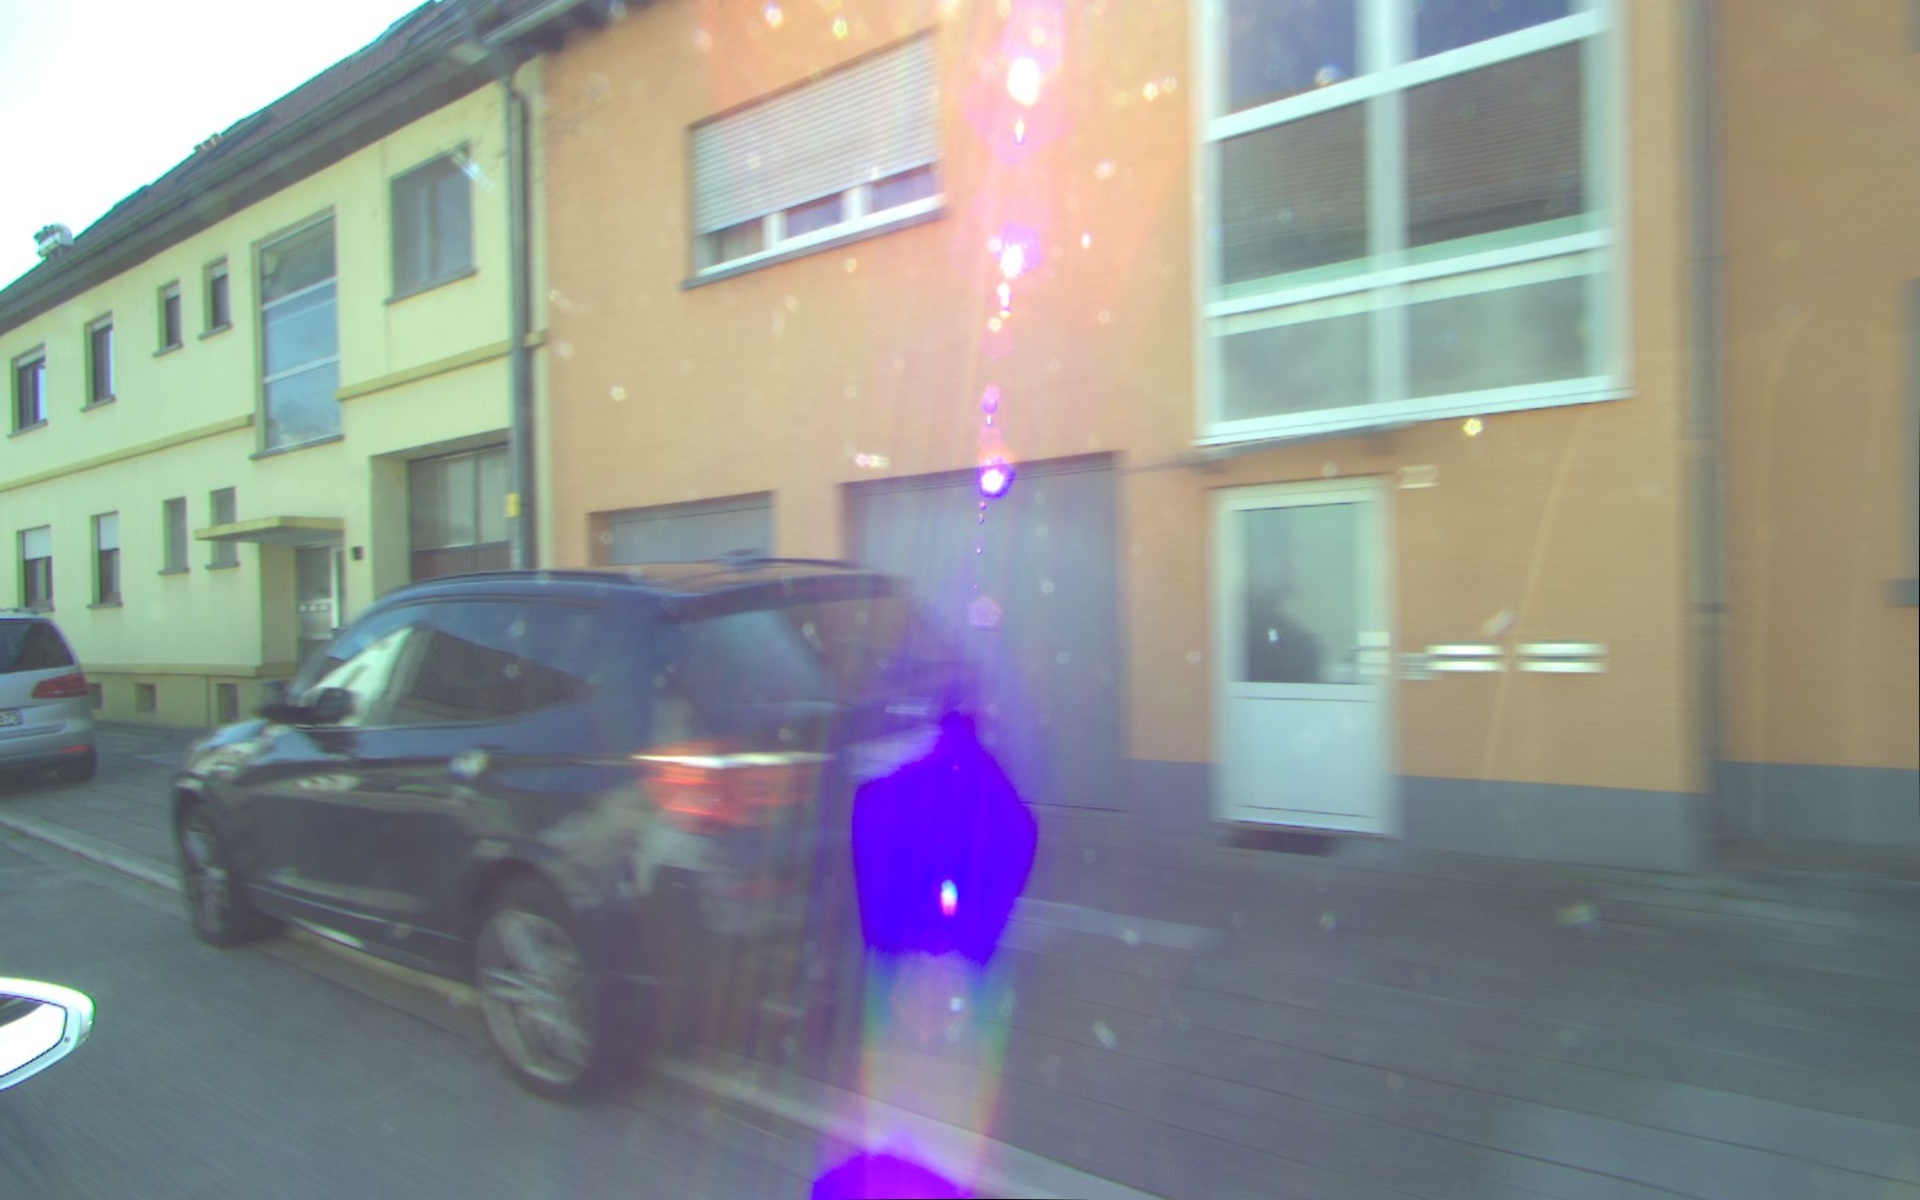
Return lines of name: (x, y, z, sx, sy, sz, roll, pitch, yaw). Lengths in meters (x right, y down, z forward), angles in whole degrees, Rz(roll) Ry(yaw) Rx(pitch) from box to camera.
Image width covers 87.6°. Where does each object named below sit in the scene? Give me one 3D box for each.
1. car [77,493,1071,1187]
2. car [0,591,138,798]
car: (-2.175, 0.649, 4.720, 5.111, 1.725, 1.839, -1, 0, 35)
car: (-9.855, 0.853, 9.688, 4.192, 1.750, 1.893, -2, -2, 35)
